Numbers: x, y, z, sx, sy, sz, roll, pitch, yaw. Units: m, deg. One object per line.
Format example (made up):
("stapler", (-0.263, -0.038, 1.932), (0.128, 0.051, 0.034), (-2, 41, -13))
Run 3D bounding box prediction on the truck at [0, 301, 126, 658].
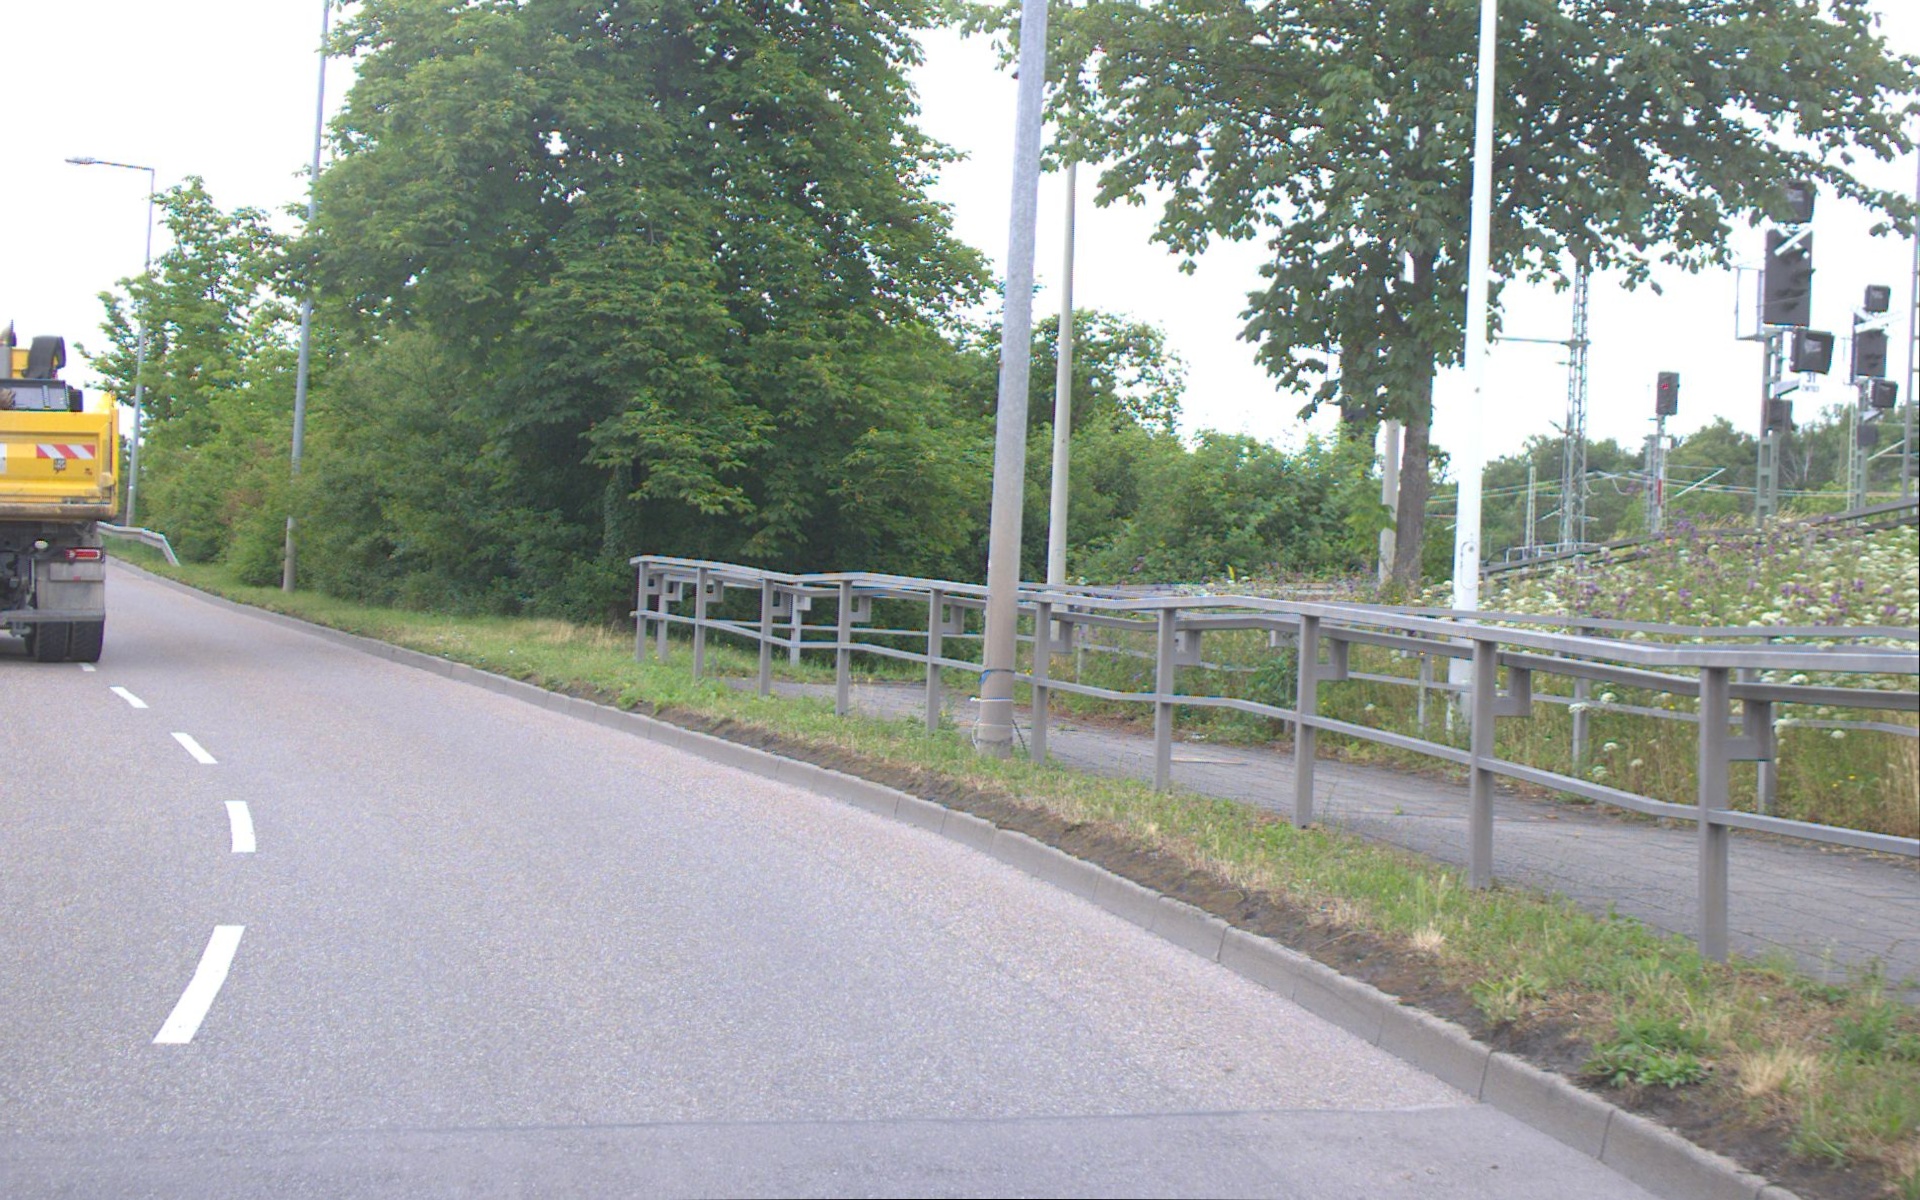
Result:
("truck", (-10.819, -1.309, 37.370), (2.764, 3.471, 8.132), (1, 2, -18))
